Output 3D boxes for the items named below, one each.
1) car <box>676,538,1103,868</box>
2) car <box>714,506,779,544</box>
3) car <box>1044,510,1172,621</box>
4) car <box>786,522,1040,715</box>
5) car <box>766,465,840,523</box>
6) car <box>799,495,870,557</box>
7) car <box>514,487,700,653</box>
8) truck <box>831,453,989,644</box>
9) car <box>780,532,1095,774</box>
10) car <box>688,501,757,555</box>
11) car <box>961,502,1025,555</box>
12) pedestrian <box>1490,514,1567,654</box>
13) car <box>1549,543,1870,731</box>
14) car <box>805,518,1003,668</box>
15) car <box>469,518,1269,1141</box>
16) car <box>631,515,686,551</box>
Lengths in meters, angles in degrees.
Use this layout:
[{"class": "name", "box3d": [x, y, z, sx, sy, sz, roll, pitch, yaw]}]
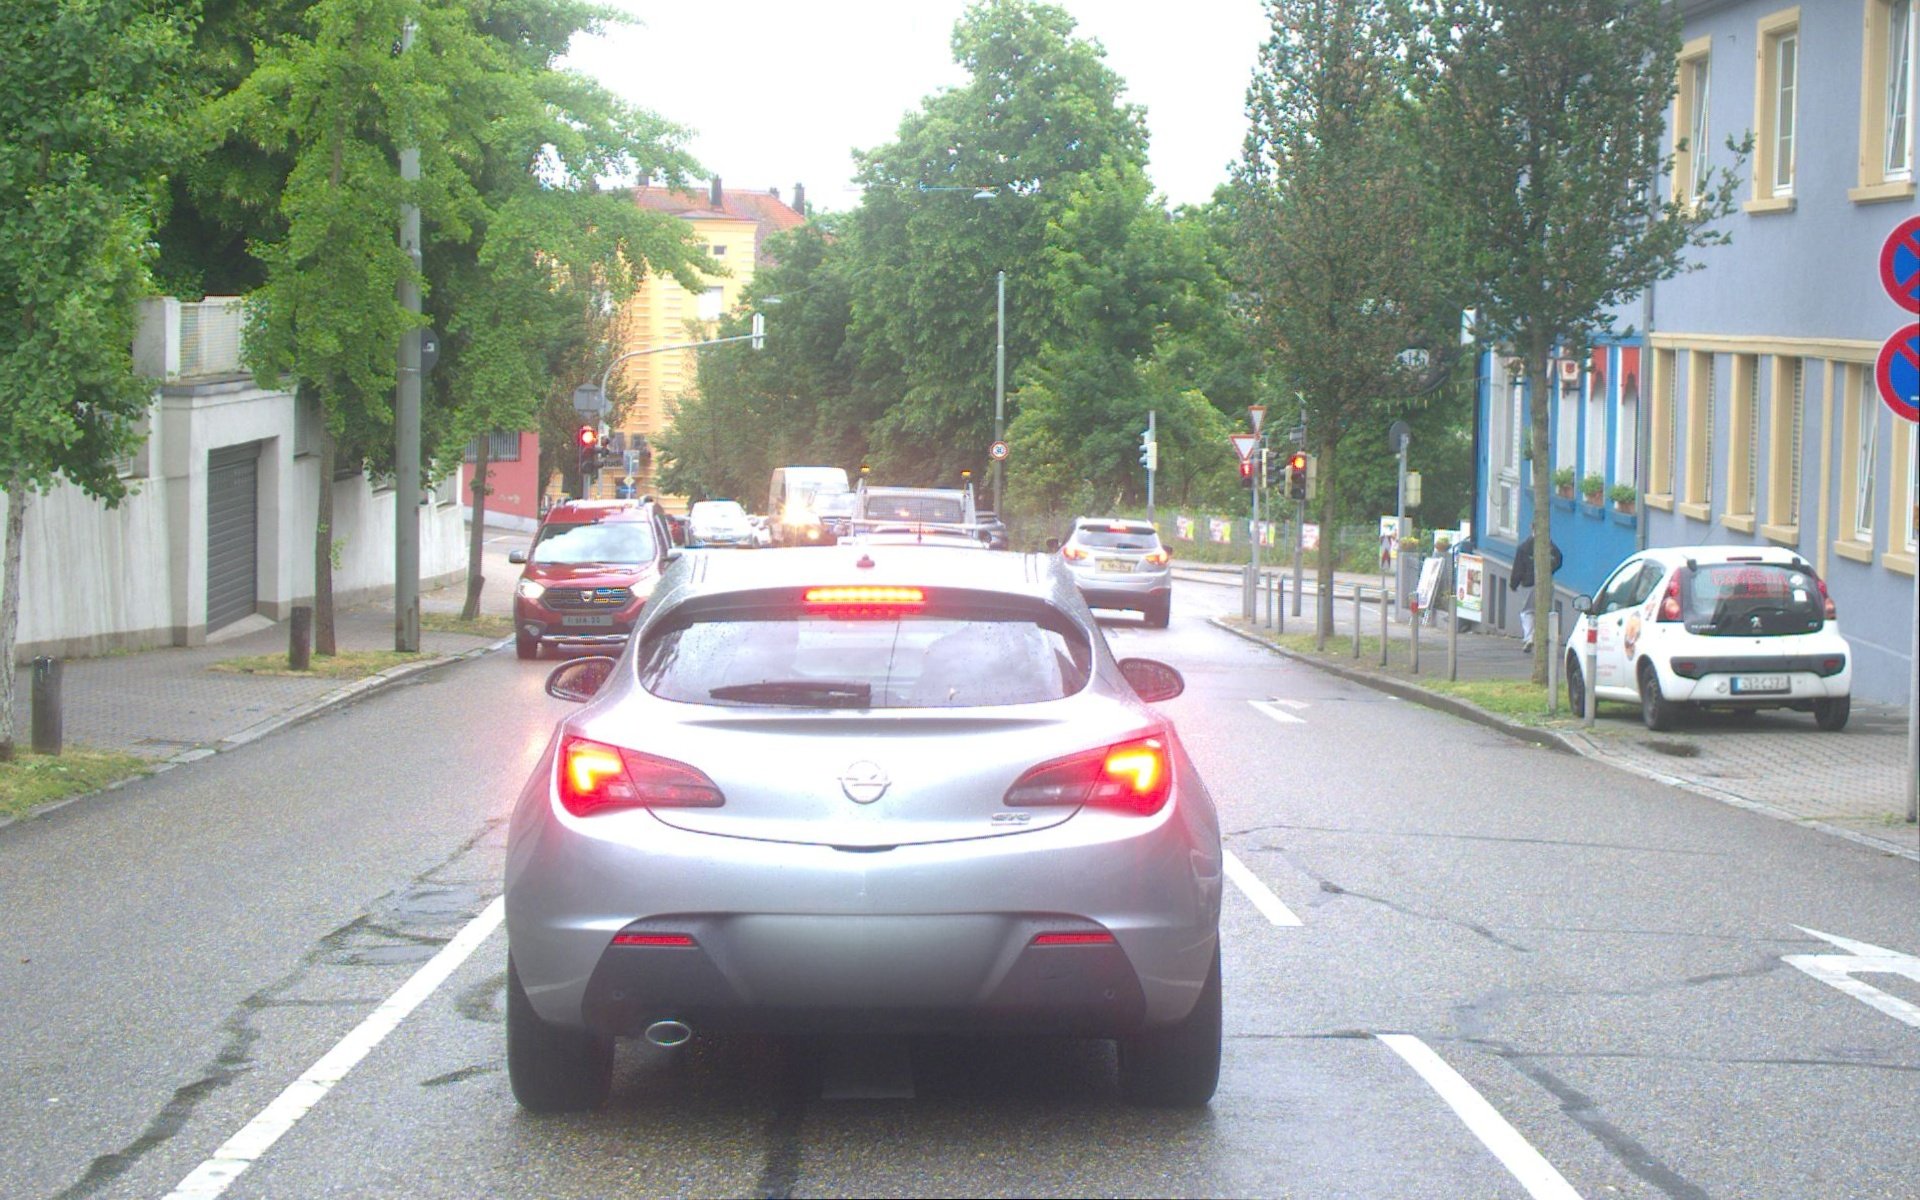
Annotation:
[{"class": "car", "box3d": [-0.394, 0.449, 18.339, 1.962, 1.443, 4.306, 2, 1, -2]}, {"class": "car", "box3d": [-8.676, -3.047, 139.326, 1.722, 1.538, 3.881, 0, 1, -18]}, {"class": "car", "box3d": [2.336, -0.579, 55.123, 1.722, 1.708, 3.880, 0, 1, -2]}, {"class": "car", "box3d": [-0.436, 0.097, 29.437, 1.962, 1.443, 4.306, 2, 1, -2]}, {"class": "car", "box3d": [-4.598, -3.073, 100.218, 1.722, 1.632, 3.881, 0, 1, -9]}, {"class": "car", "box3d": [-3.363, -1.986, 92.597, 1.870, 1.632, 3.880, 0, 1, -2]}, {"class": "car", "box3d": [-4.078, -0.365, 40.297, 1.746, 1.822, 4.459, -1, 1, -1]}, {"class": "truck", "box3d": [-0.720, -0.733, 47.088, 1.962, 2.420, 4.936, 2, 1, -2]}, {"class": "car", "box3d": [-0.206, 0.296, 24.059, 1.962, 1.443, 4.306, 2, 1, -2]}, {"class": "car", "box3d": [-6.518, -1.971, 94.622, 1.722, 1.455, 3.880, 0, 1, -2]}, {"class": "car", "box3d": [1.036, -2.263, 108.889, 1.722, 1.632, 3.880, 0, 1, -4]}, {"class": "pedestrian", "box3d": [7.159, -0.208, 43.317, 0.783, 1.723, 0.651, 2, 1, 0]}, {"class": "car", "box3d": [6.164, 0.258, 28.697, 1.722, 1.443, 3.880, 0, 1, -2]}, {"class": "car", "box3d": [-0.632, -0.119, 37.096, 1.962, 1.443, 4.306, 2, 1, -2]}, {"class": "car", "box3d": [-0.291, 0.496, 9.939, 1.837, 1.429, 3.880, 1, 1, -2]}, {"class": "car", "box3d": [-13.880, -3.084, 158.097, 1.722, 1.632, 3.881, 0, 1, -18]}]
